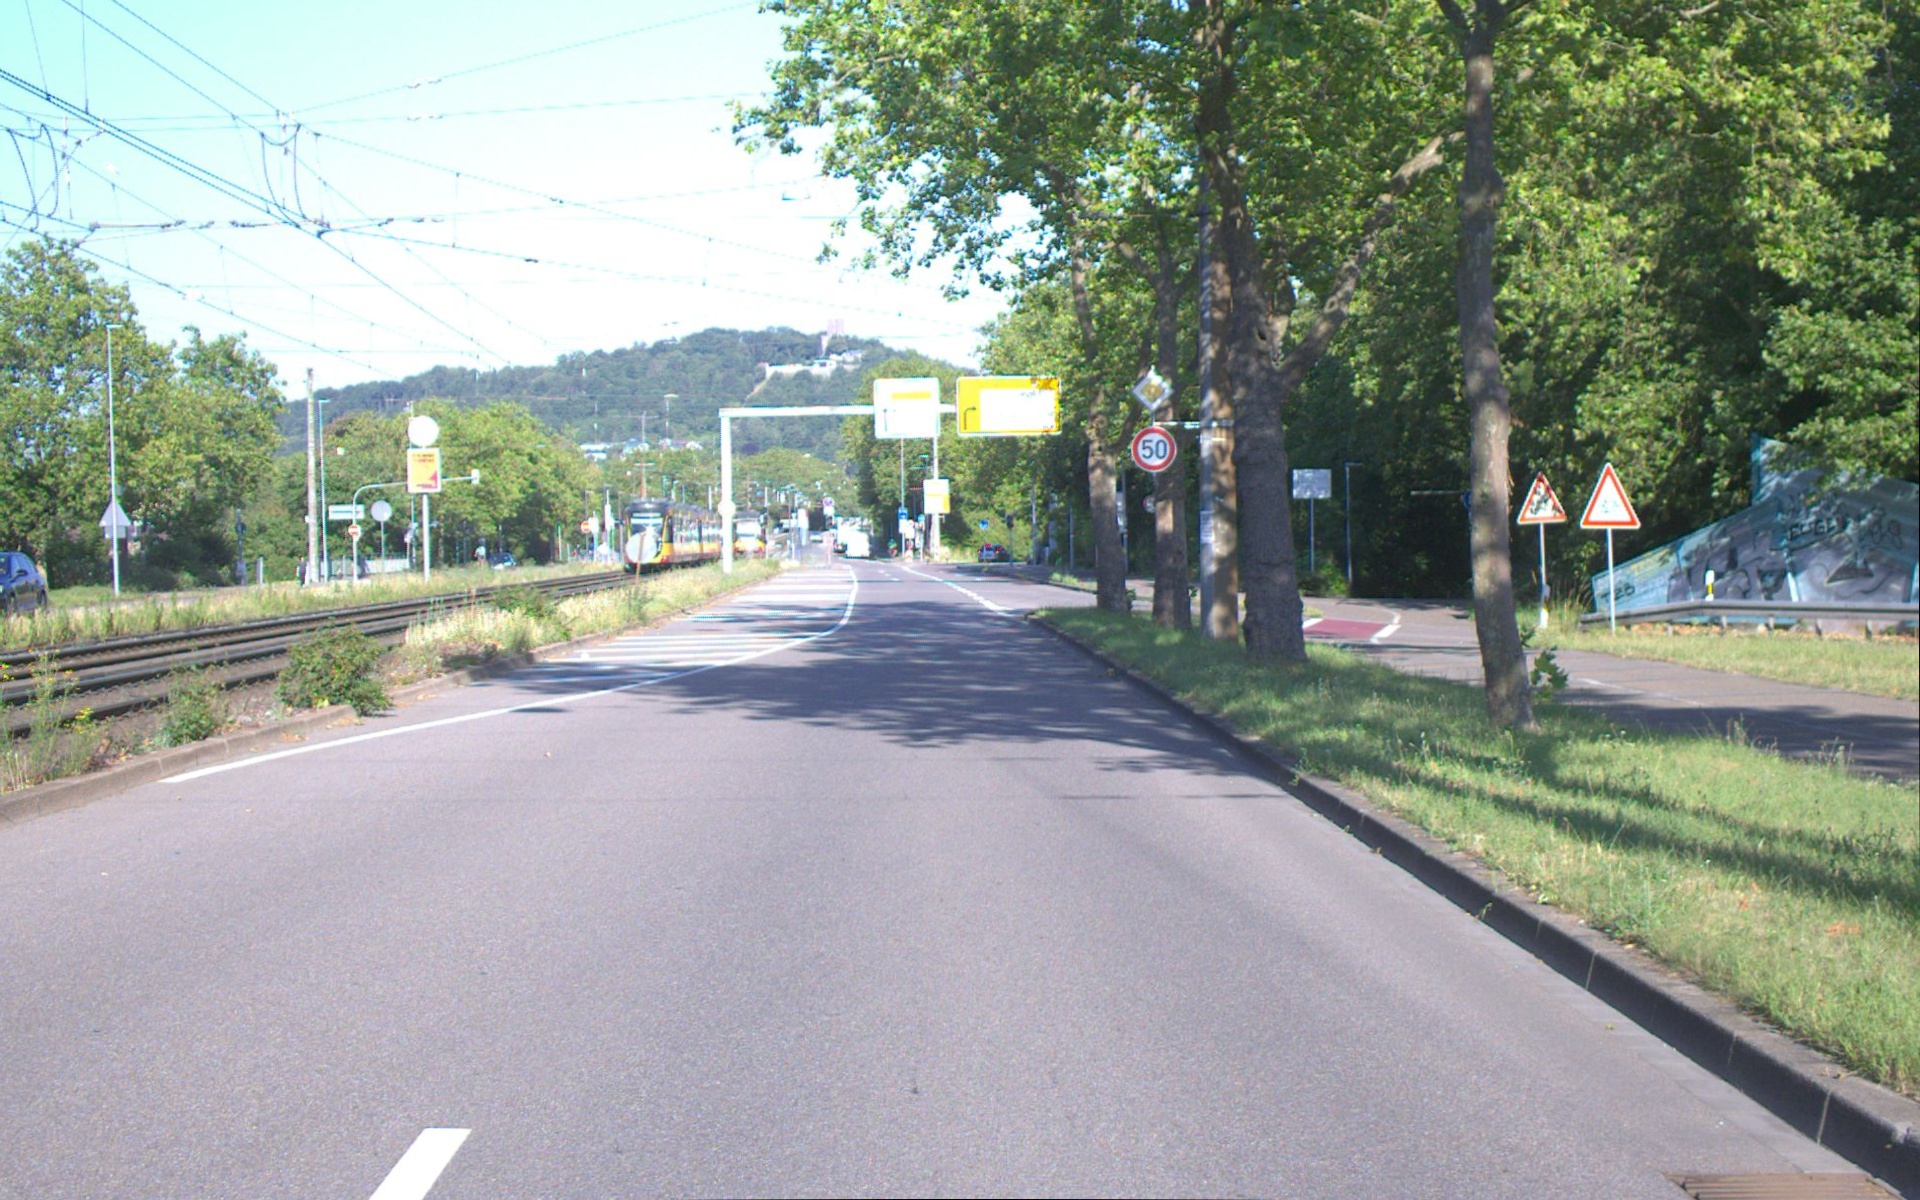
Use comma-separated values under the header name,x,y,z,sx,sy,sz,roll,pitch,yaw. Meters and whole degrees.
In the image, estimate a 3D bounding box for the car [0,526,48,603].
name,x,y,z,sx,sy,sz,roll,pitch,yaw
car,-22.095,-0.771,77.564,1.898,1.688,4.942,-3,1,-3

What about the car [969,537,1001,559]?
name,x,y,z,sx,sy,sz,roll,pitch,yaw
car,1.867,-3.868,256.110,2.086,1.560,3.955,0,1,4

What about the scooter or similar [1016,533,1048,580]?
name,x,y,z,sx,sy,sz,roll,pitch,yaw
scooter or similar,4.218,-2.563,202.127,1.681,2.706,4.869,0,1,-1

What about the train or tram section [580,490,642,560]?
name,x,y,z,sx,sy,sz,roll,pitch,yaw
train or tram section,-20.106,-4.312,198.430,2.804,3.889,12.334,0,1,-2
